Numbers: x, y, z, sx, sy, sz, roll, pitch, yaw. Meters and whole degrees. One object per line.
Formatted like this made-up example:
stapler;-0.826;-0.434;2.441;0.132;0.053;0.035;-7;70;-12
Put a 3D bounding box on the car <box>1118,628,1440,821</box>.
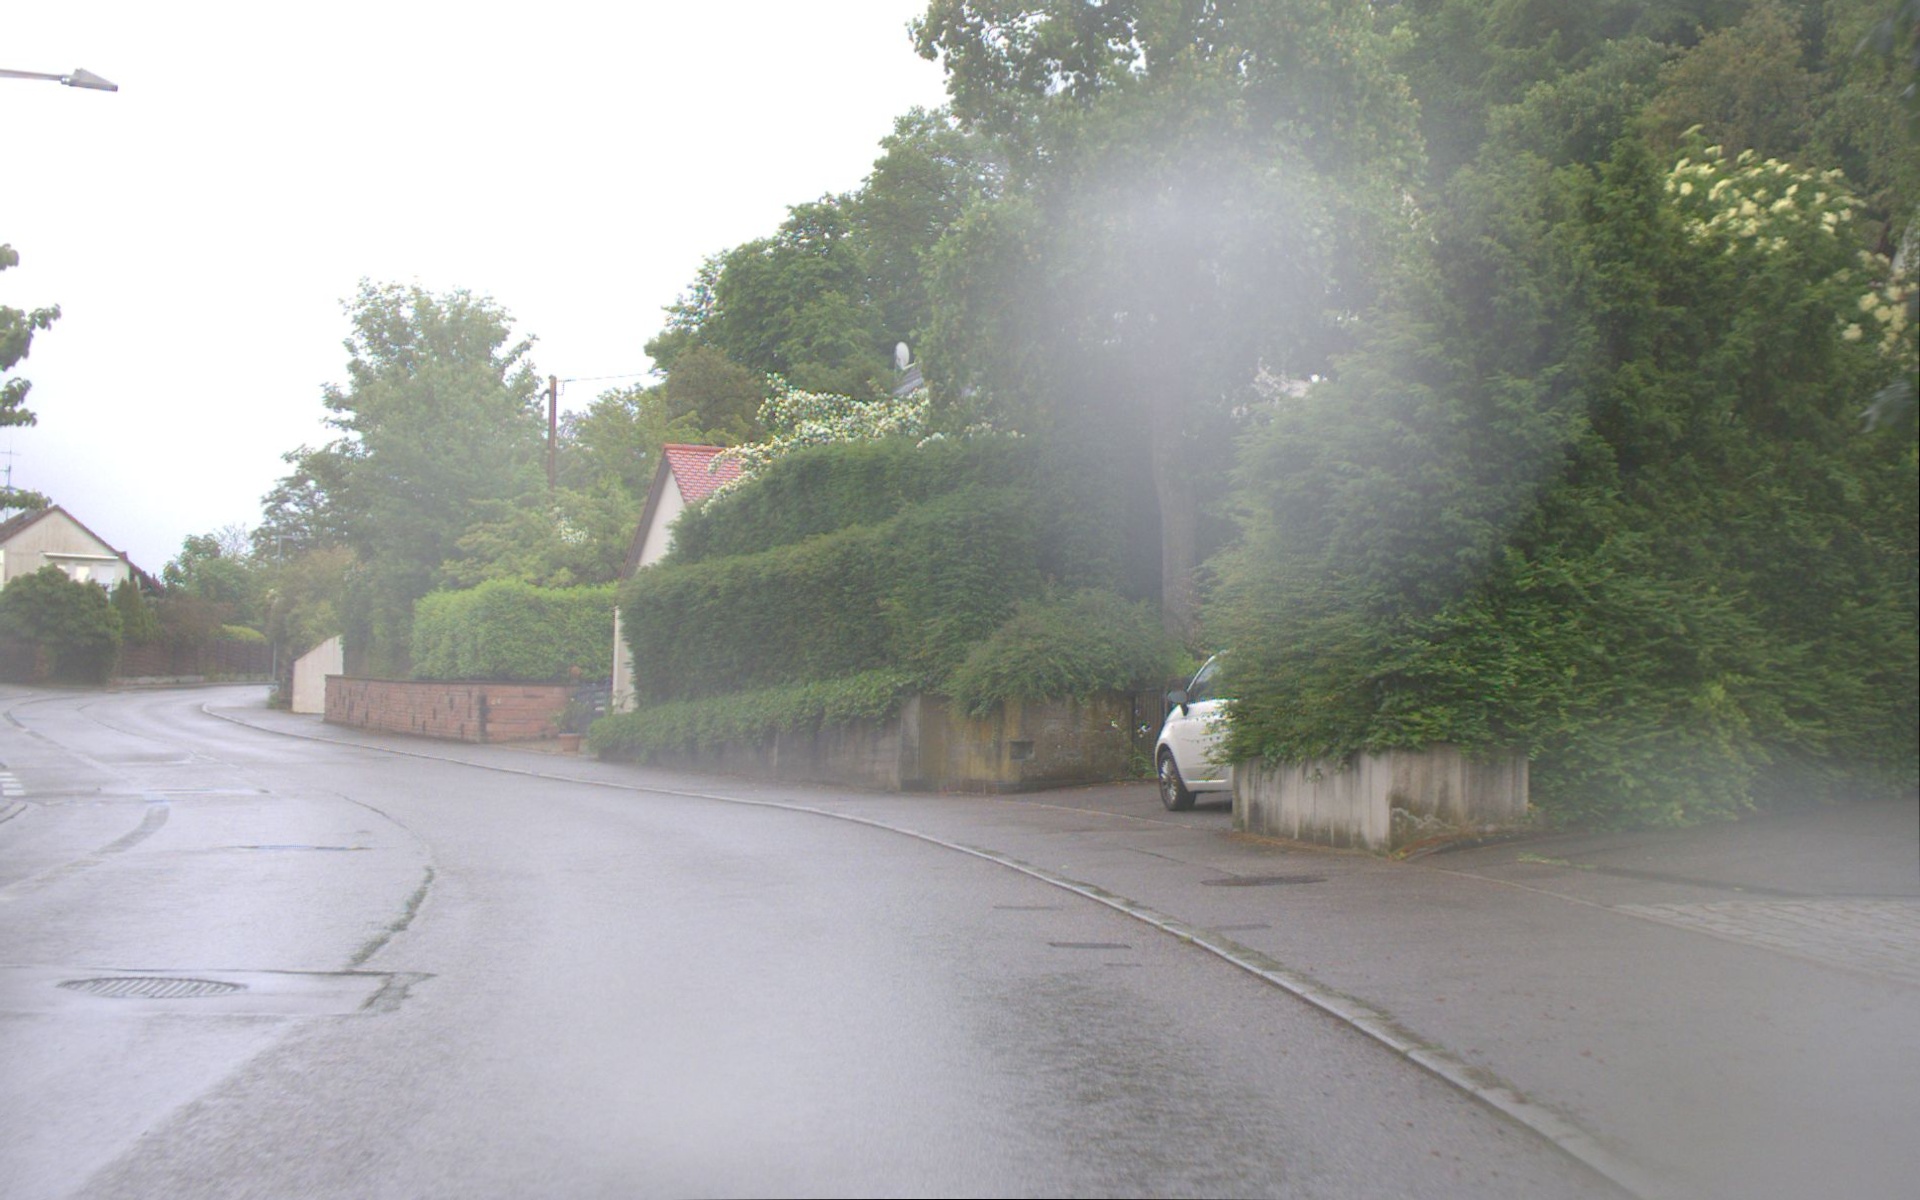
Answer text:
car;2.788;1.069;30.898;1.531;1.530;3.846;-3;0;-16
